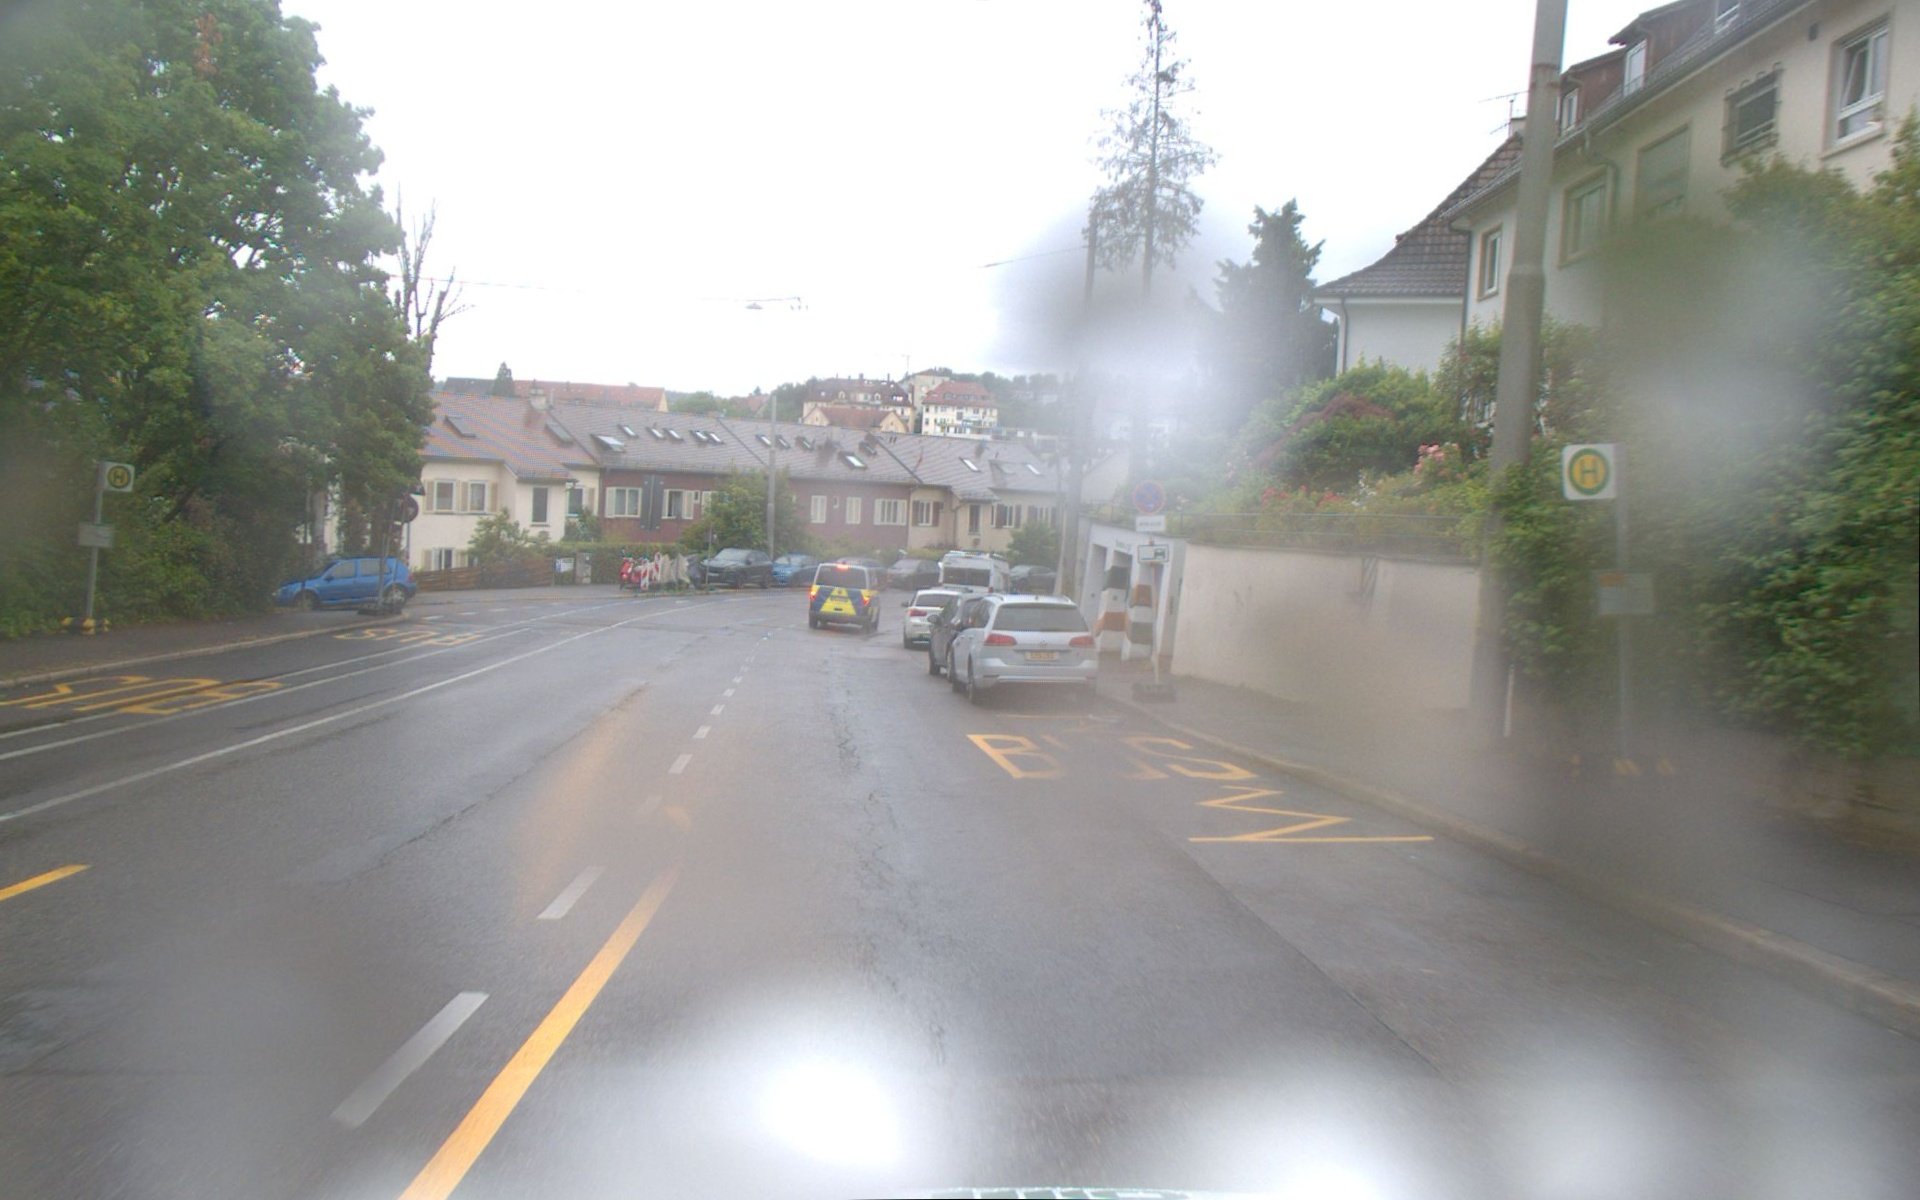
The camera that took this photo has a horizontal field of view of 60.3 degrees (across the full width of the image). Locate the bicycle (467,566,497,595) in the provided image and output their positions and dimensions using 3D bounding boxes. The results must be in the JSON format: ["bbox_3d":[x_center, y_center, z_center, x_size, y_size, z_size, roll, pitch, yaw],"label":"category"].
[{"bbox_3d":[-18.062,-0.740,62.515,1.301,1.053,0.304,-1,-3,35],"label":"bicycle"}]

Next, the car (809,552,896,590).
[{"bbox_3d":[-5.094,-1.375,79.175,1.777,1.501,4.511,7,3,31],"label":"car"}]

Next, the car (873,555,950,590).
[{"bbox_3d":[-2.441,-1.373,84.103,1.775,1.501,4.515,7,3,29],"label":"car"}]

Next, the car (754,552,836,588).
[{"bbox_3d":[-7.383,-1.352,74.238,1.666,1.428,4.472,7,4,22],"label":"car"}]

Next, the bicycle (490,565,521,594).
[{"bbox_3d":[-16.952,-0.745,61.686,1.276,1.053,0.304,0,-3,34],"label":"bicycle"}]

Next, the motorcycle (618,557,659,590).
[{"bbox_3d":[-11.888,-0.986,61.213,0.499,1.159,1.922,3,2,23],"label":"motorcycle"}]

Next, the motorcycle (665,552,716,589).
[{"bbox_3d":[-10.645,-1.162,65.308,1.869,1.292,0.573,5,3,-15],"label":"motorcycle"}]

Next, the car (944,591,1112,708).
[{"bbox_3d":[0.855,0.631,23.439,1.747,1.445,4.425,1,0,-6],"label":"car"}]

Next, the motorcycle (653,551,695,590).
[{"bbox_3d":[-11.042,-1.140,63.879,0.609,1.325,1.779,3,4,-45],"label":"motorcycle"}]

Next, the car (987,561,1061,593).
[{"bbox_3d":[3.676,-1.269,93.921,1.781,1.501,4.500,7,3,38],"label":"car"}]

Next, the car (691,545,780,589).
[{"bbox_3d":[-9.345,-1.392,69.319,1.883,1.603,4.390,7,3,17],"label":"car"}]

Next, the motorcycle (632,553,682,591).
[{"bbox_3d":[-11.526,-1.065,62.875,1.764,1.301,0.511,5,3,16],"label":"motorcycle"}]

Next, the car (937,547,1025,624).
[{"bbox_3d":[0.821,-0.514,59.937,2.054,2.586,5.625,3,1,11],"label":"car"}]

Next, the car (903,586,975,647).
[{"bbox_3d":[-0.573,0.387,42.368,1.671,1.439,4.040,2,0,-2],"label":"car"}]

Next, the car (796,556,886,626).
[{"bbox_3d":[-3.541,-0.271,50.102,2.261,1.973,4.326,2,0,1],"label":"car"}]

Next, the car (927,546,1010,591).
[{"bbox_3d":[0.474,-1.678,89.147,1.818,2.113,5.003,7,3,34],"label":"car"}]

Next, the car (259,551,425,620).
[{"bbox_3d":[-17.182,-0.381,46.067,3.908,1.695,1.814,3,-1,-42],"label":"car"}]

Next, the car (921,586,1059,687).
[{"bbox_3d":[0.438,0.567,28.385,1.682,1.539,3.992,2,0,-9],"label":"car"}]
